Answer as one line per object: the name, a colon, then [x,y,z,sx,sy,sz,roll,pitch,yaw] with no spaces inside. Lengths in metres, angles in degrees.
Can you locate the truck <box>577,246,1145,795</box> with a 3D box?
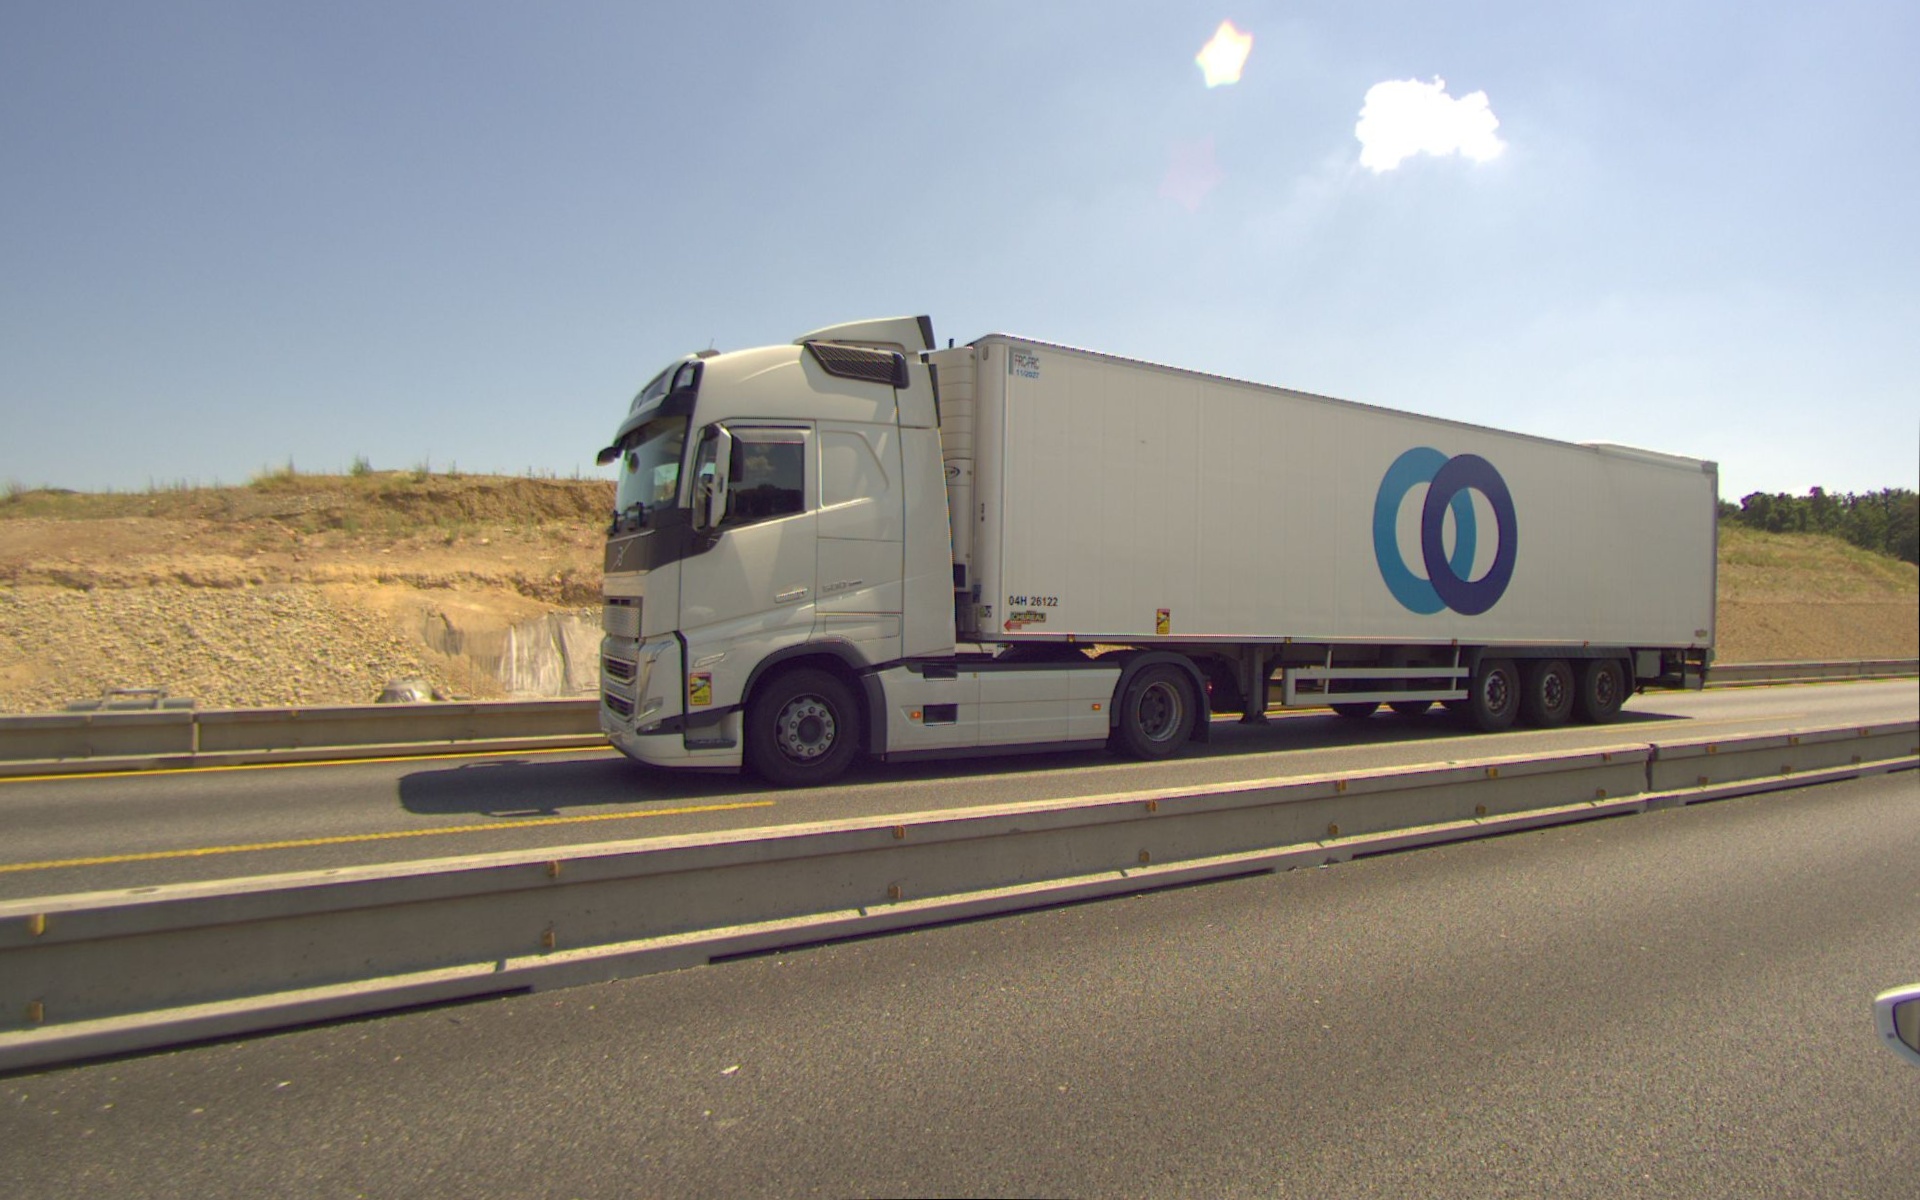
truck: [-0.973,-0.513,9.877,4.801,4.071,2.836,2,-2,-30]

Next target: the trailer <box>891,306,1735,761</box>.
trailer: [5.747,-0.410,13.759,13.491,4.147,2.841,2,-2,-30]

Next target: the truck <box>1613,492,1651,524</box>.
truck: [79.027,-10.750,118.263,2.317,2.937,8.361,2,0,25]

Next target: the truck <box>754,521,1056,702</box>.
truck: [-0.989,0.144,18.820,4.964,3.003,2.586,2,0,22]
